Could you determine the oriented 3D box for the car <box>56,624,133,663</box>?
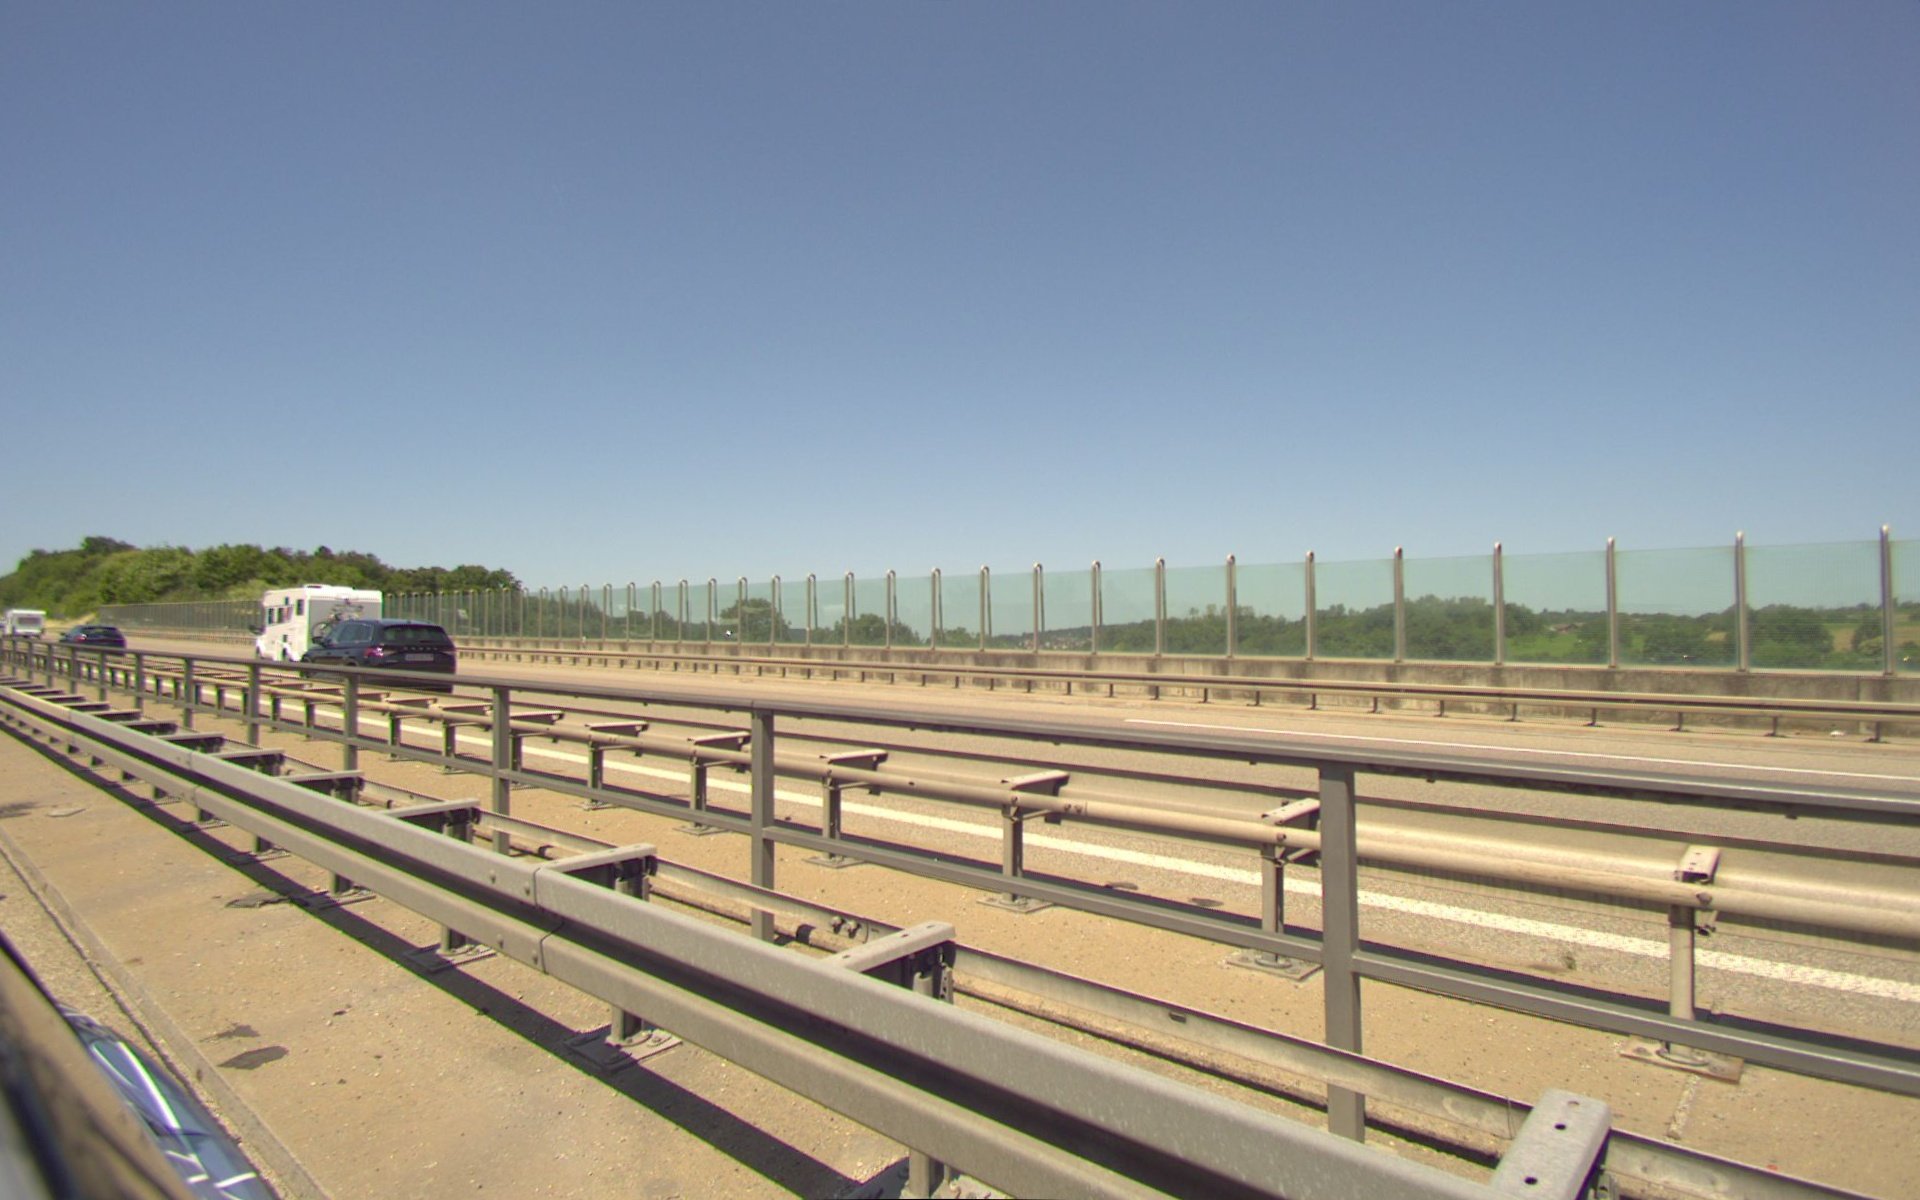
[{"bbox_3d":[-37.306,1.858,43.584,4.422,1.543,1.848,-2,-5,41],"label":"car"}]

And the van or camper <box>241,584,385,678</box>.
[{"bbox_3d":[-23.282,1.134,36.261,7.023,3.047,2.397,-2,-4,41],"label":"van or camper"}]

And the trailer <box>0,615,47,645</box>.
[{"bbox_3d":[-84.114,2.709,90.807,6.771,2.569,2.467,-2,-4,41],"label":"trailer"}]

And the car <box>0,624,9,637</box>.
[{"bbox_3d":[-141.760,4.448,149.010,5.252,1.899,1.973,-2,-4,41],"label":"car"}]

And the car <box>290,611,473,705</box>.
[{"bbox_3d":[-11.923,1.158,20.740,4.428,1.713,1.847,-1,-4,41],"label":"car"}]
